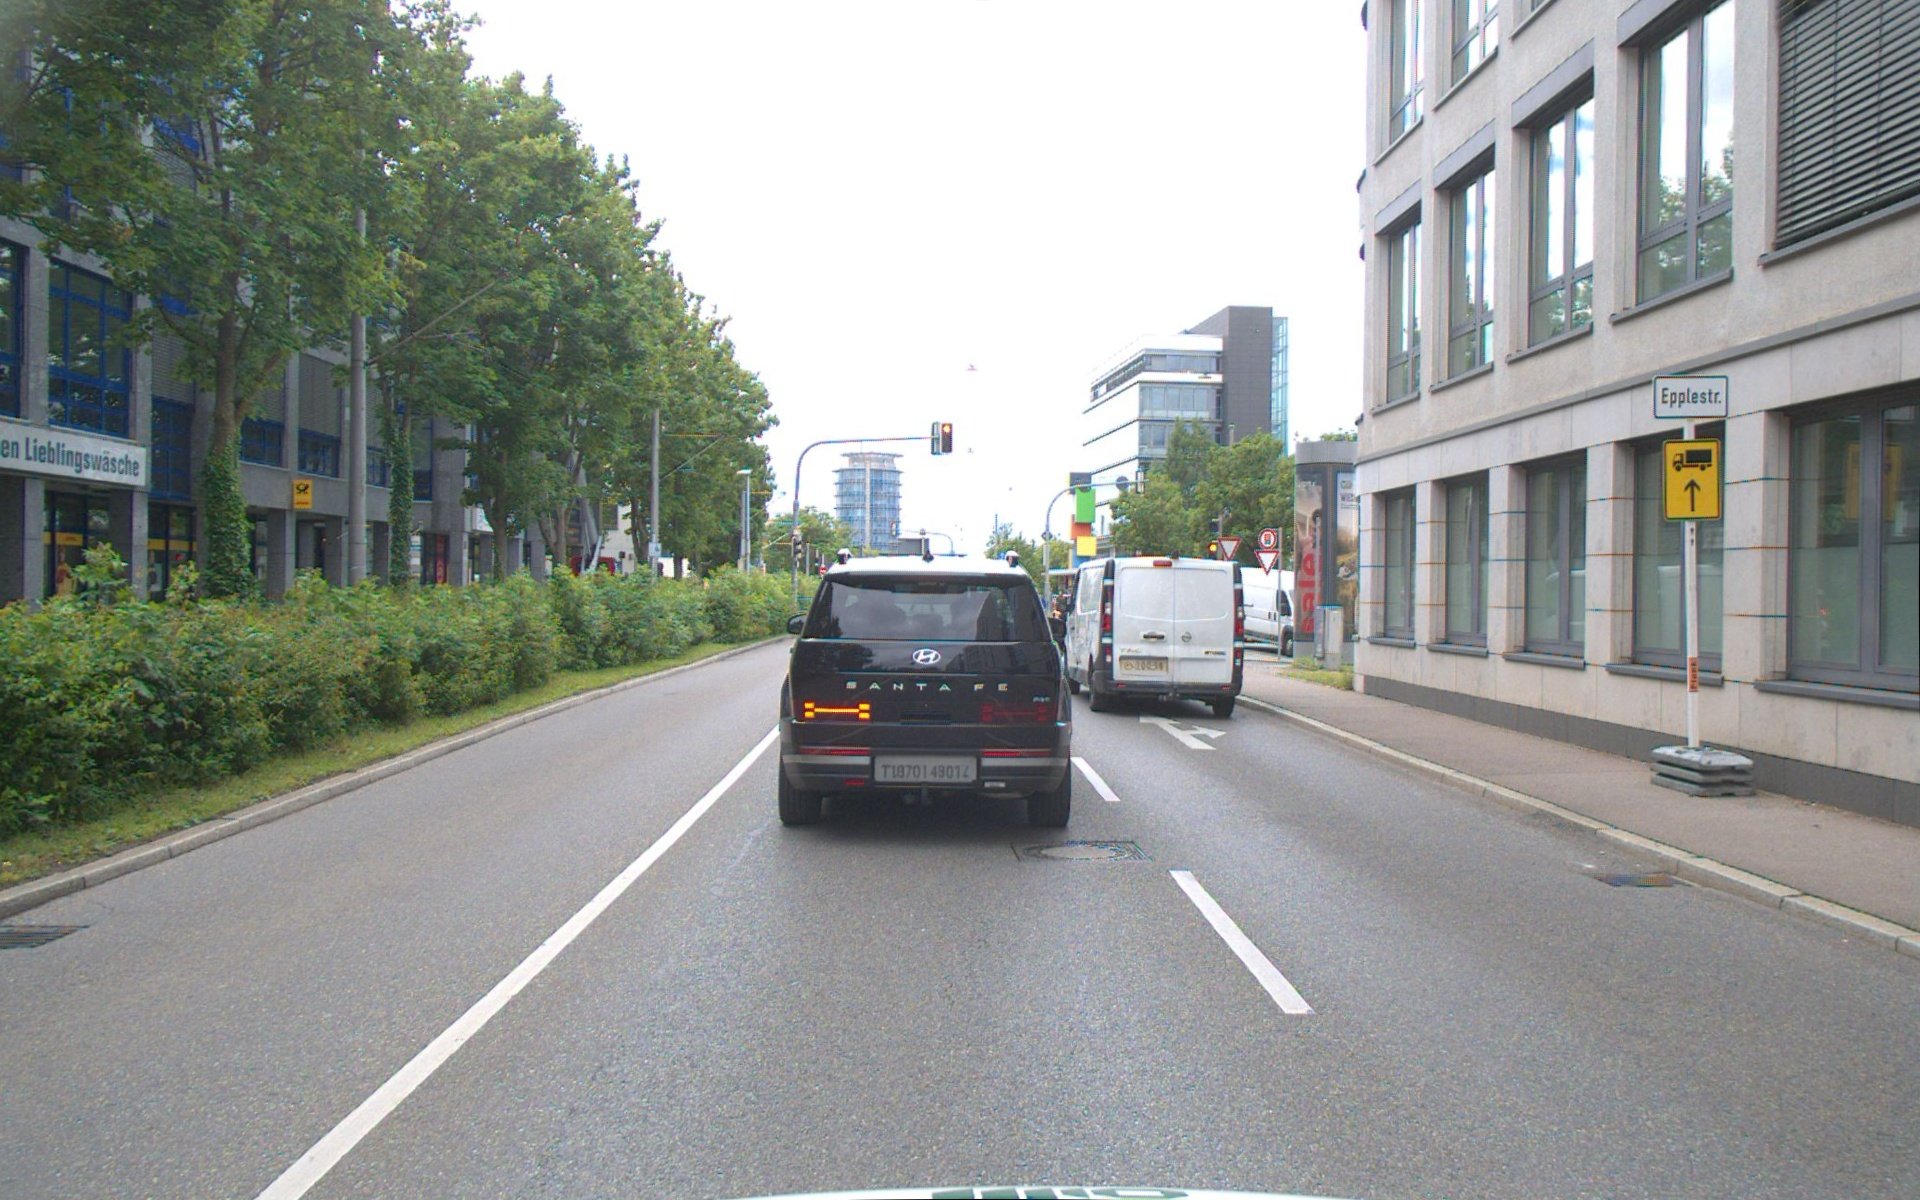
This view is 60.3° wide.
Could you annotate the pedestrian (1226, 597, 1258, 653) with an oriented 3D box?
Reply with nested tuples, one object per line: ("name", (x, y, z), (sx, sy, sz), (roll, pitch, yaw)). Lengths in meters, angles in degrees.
("pedestrian", (8.416, 0.746, 49.356), (0.733, 1.612, 0.565), (2, 0, -41))

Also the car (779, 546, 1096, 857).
("car", (-0.160, 0.579, 11.514), (1.831, 1.791, 3.879), (0, 0, -1))

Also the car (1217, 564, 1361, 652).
("car", (10.369, 0.243, 52.727), (2.259, 2.618, 5.816), (1, 0, -14))

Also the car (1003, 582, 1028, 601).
("car", (5.187, -0.811, 154.647), (1.954, 1.713, 3.997), (1, 0, -3))

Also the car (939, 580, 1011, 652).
("car", (0.387, 0.402, 42.742), (1.739, 1.747, 4.338), (1, 0, 1))

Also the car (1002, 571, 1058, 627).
("car", (2.626, -0.031, 63.034), (1.953, 2.049, 4.000), (1, 0, 0))

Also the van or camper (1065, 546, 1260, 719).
("van or camper", (2.592, 0.380, 22.288), (1.953, 2.049, 4.651), (1, 0, -1))

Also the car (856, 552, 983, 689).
("car", (-0.642, 0.296, 26.507), (1.876, 2.038, 3.879), (0, 0, -1))
